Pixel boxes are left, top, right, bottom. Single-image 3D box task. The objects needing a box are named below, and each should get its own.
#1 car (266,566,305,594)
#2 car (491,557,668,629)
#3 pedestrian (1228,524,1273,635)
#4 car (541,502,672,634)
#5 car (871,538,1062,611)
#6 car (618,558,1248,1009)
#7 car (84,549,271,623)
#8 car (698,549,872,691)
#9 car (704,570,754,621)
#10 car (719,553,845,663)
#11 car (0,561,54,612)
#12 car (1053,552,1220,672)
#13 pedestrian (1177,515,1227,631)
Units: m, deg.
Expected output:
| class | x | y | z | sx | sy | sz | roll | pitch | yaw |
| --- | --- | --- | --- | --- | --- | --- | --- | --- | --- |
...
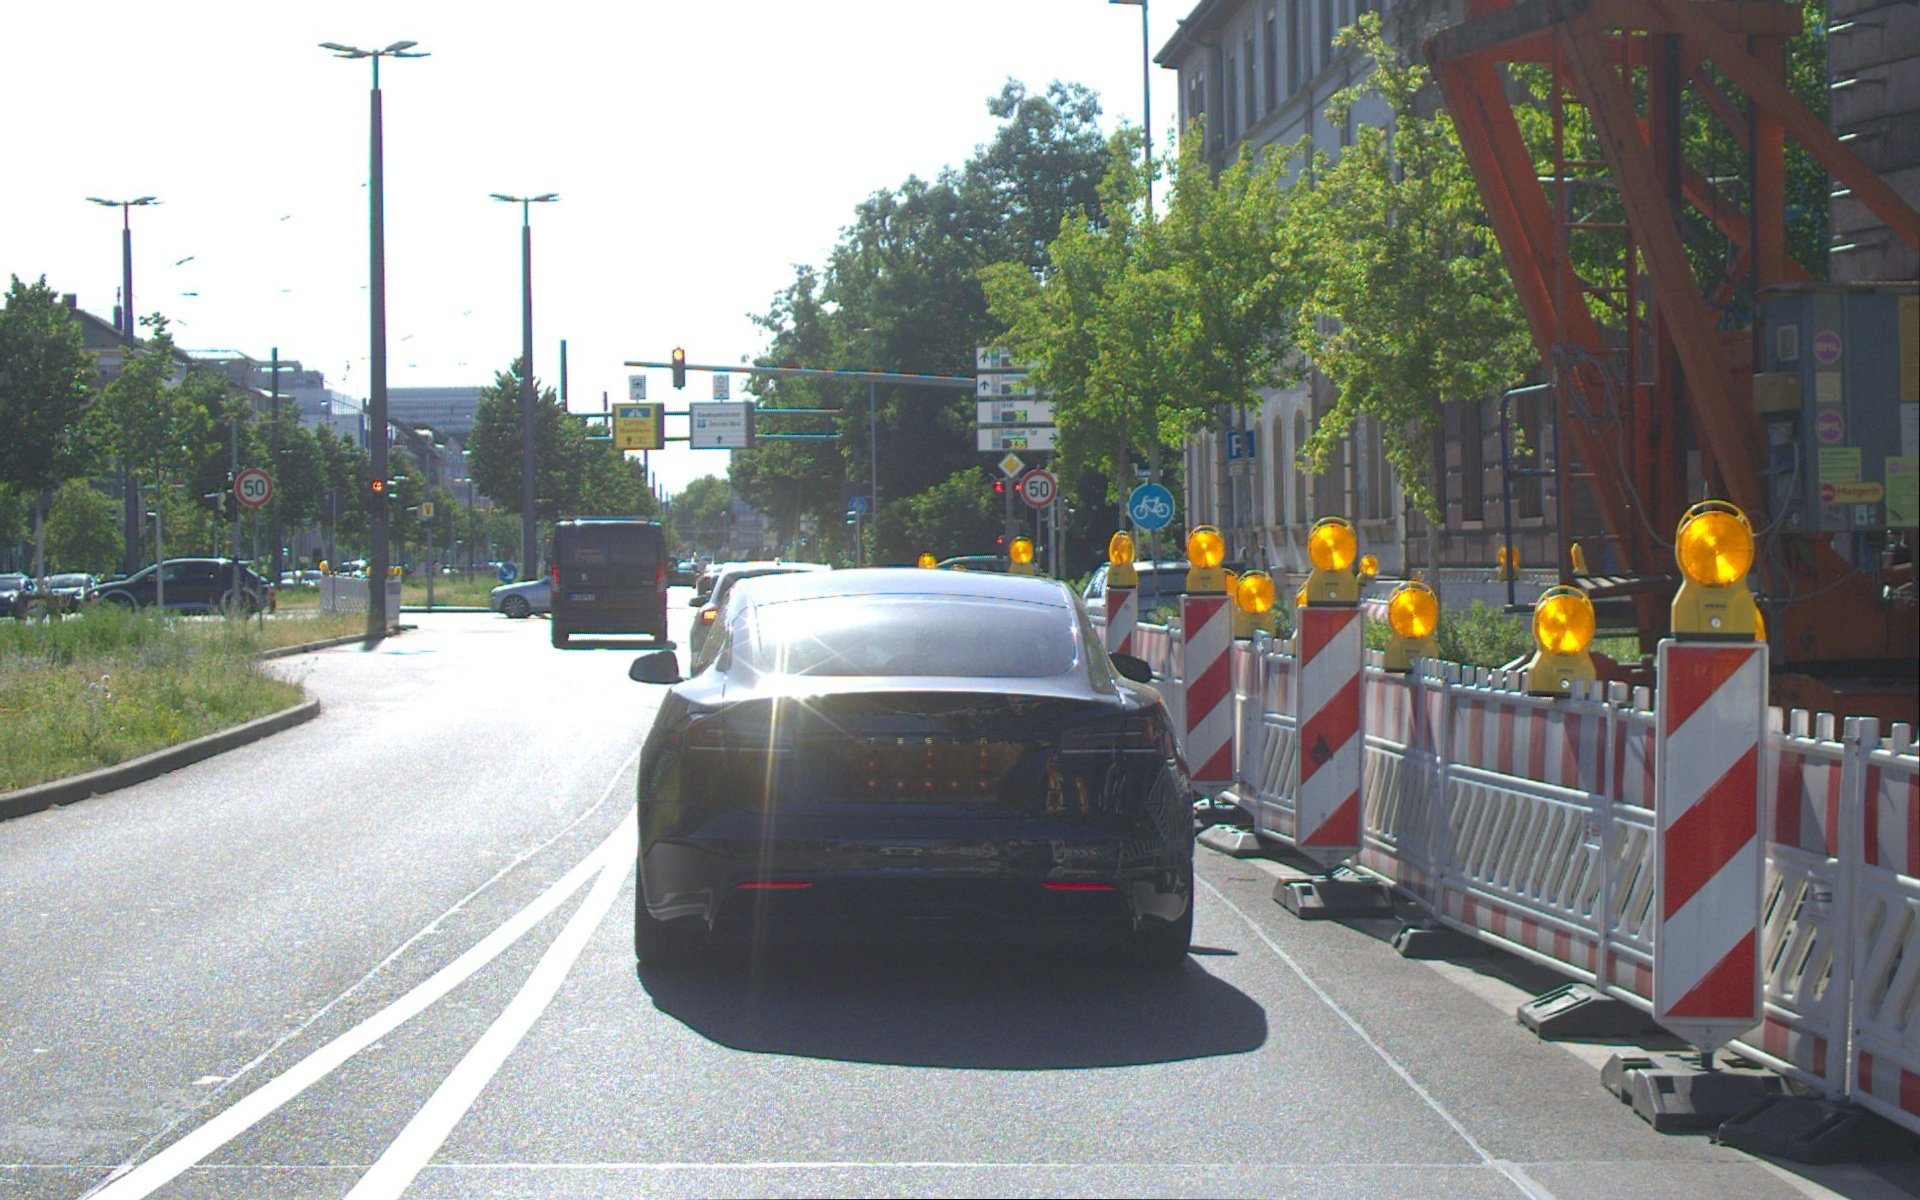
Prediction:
| class | x | y | z | sx | sy | sz | roll | pitch | yaw |
| --- | --- | --- | --- | --- | --- | --- | --- | --- | --- |
| car | -40.972 | -1.214 | 208.924 | 1.790 | 1.645 | 4.001 | -1 | 1 | -3 |
| car | -9.858 | -0.192 | 89.176 | 4.511 | 1.786 | 2.000 | -1 | 1 | -6 |
| pedestrian | 4.888 | -0.348 | 57.867 | 0.563 | 1.814 | 0.587 | -3 | 1 | -4 |
| car | -6.334 | -0.603 | 61.989 | 2.217 | 2.259 | 4.485 | 1 | 1 | -5 |
| car | 0.184 | -0.652 | 87.514 | 4.514 | 1.786 | 1.999 | 0 | 1 | 13 |
| car | -0.235 | 0.581 | 13.566 | 2.051 | 1.439 | 4.525 | 1 | 1 | -4 |
| car | -19.688 | -0.375 | 86.444 | 4.511 | 1.786 | 2.001 | -1 | 1 | -15 |
| car | -1.938 | 0.170 | 37.303 | 1.747 | 1.422 | 4.839 | 0 | 1 | -4 |
| car | -8.758 | -0.170 | 130.059 | 1.791 | 1.867 | 3.850 | 1 | 0 | -5 |
| car | -2.596 | 0.080 | 50.157 | 1.749 | 1.522 | 4.005 | 1 | 1 | -3 |
| car | -31.052 | -0.459 | 112.706 | 1.790 | 1.645 | 4.001 | -1 | 1 | -3 |
| car | 2.359 | 0.124 | 47.035 | 1.647 | 1.470 | 4.701 | -3 | 1 | -4 |
| pedestrian | 4.071 | -0.450 | 57.851 | 0.658 | 1.906 | 0.587 | -3 | 1 | -4 |
